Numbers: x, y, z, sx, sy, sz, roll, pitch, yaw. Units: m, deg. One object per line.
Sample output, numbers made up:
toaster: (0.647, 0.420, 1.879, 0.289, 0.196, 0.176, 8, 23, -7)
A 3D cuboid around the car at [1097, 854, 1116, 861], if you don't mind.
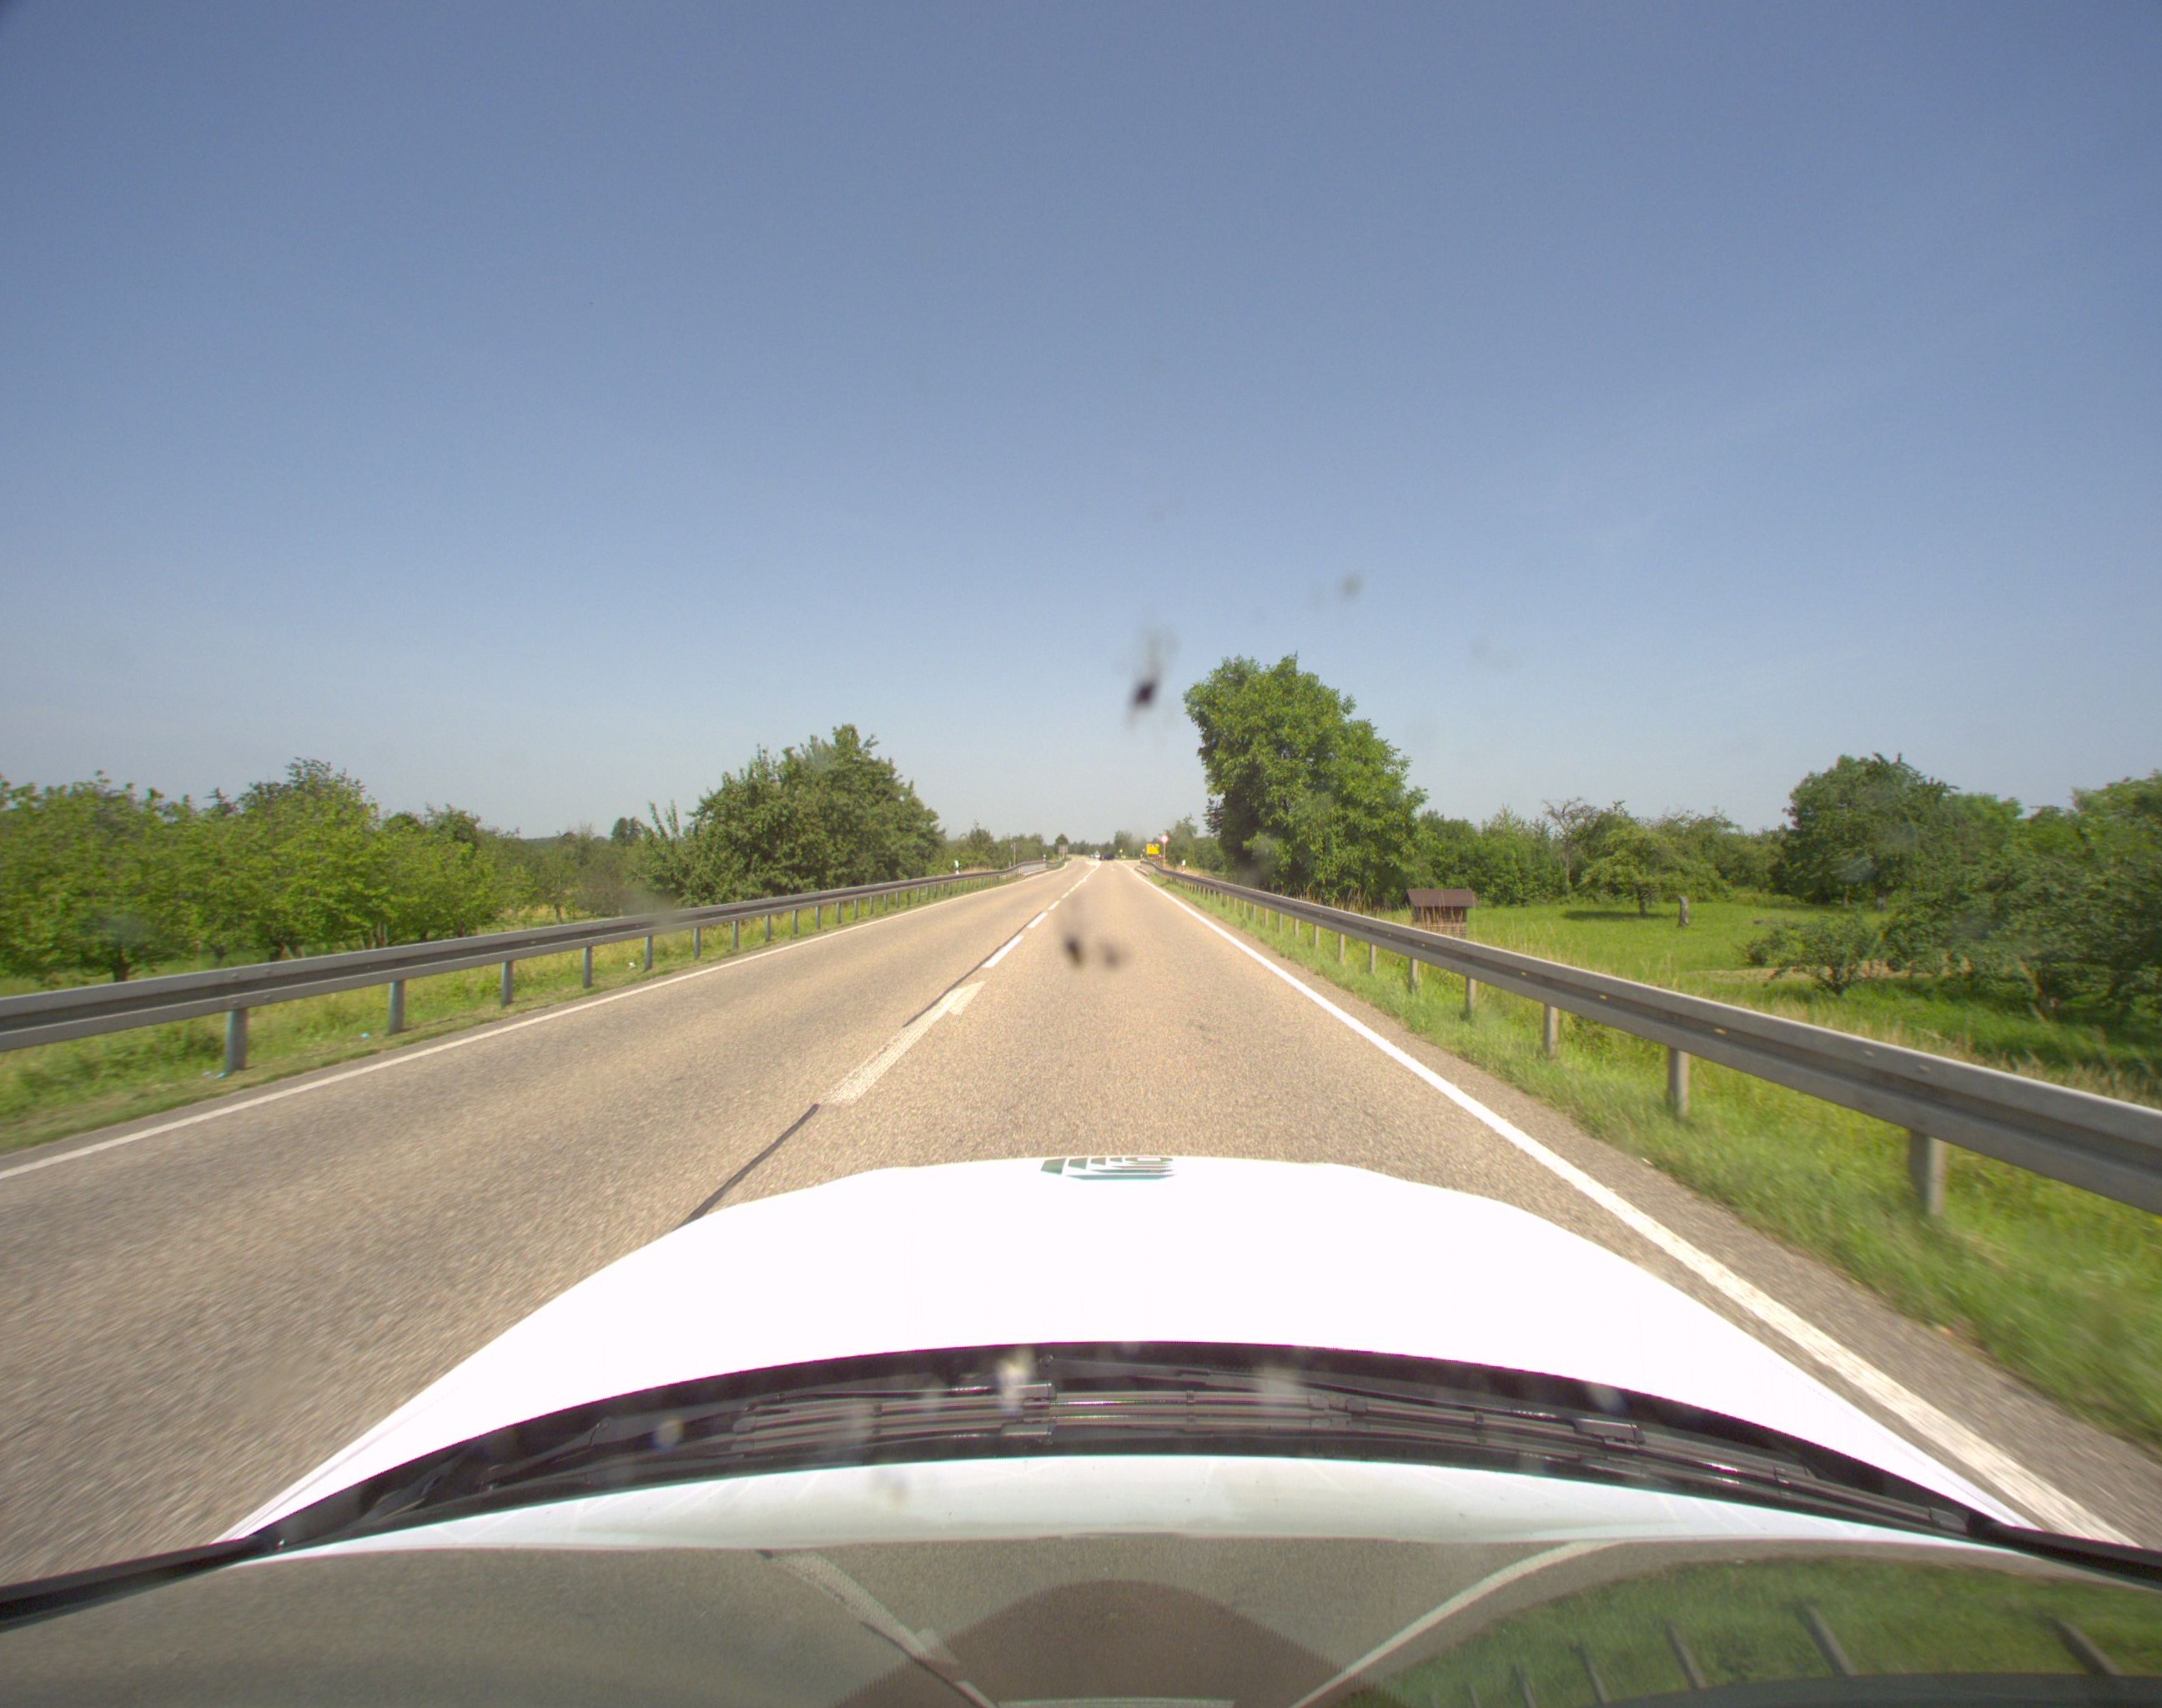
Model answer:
car: (6.120, 0.759, 195.948, 1.787, 1.637, 4.838, -1, -1, 43)
